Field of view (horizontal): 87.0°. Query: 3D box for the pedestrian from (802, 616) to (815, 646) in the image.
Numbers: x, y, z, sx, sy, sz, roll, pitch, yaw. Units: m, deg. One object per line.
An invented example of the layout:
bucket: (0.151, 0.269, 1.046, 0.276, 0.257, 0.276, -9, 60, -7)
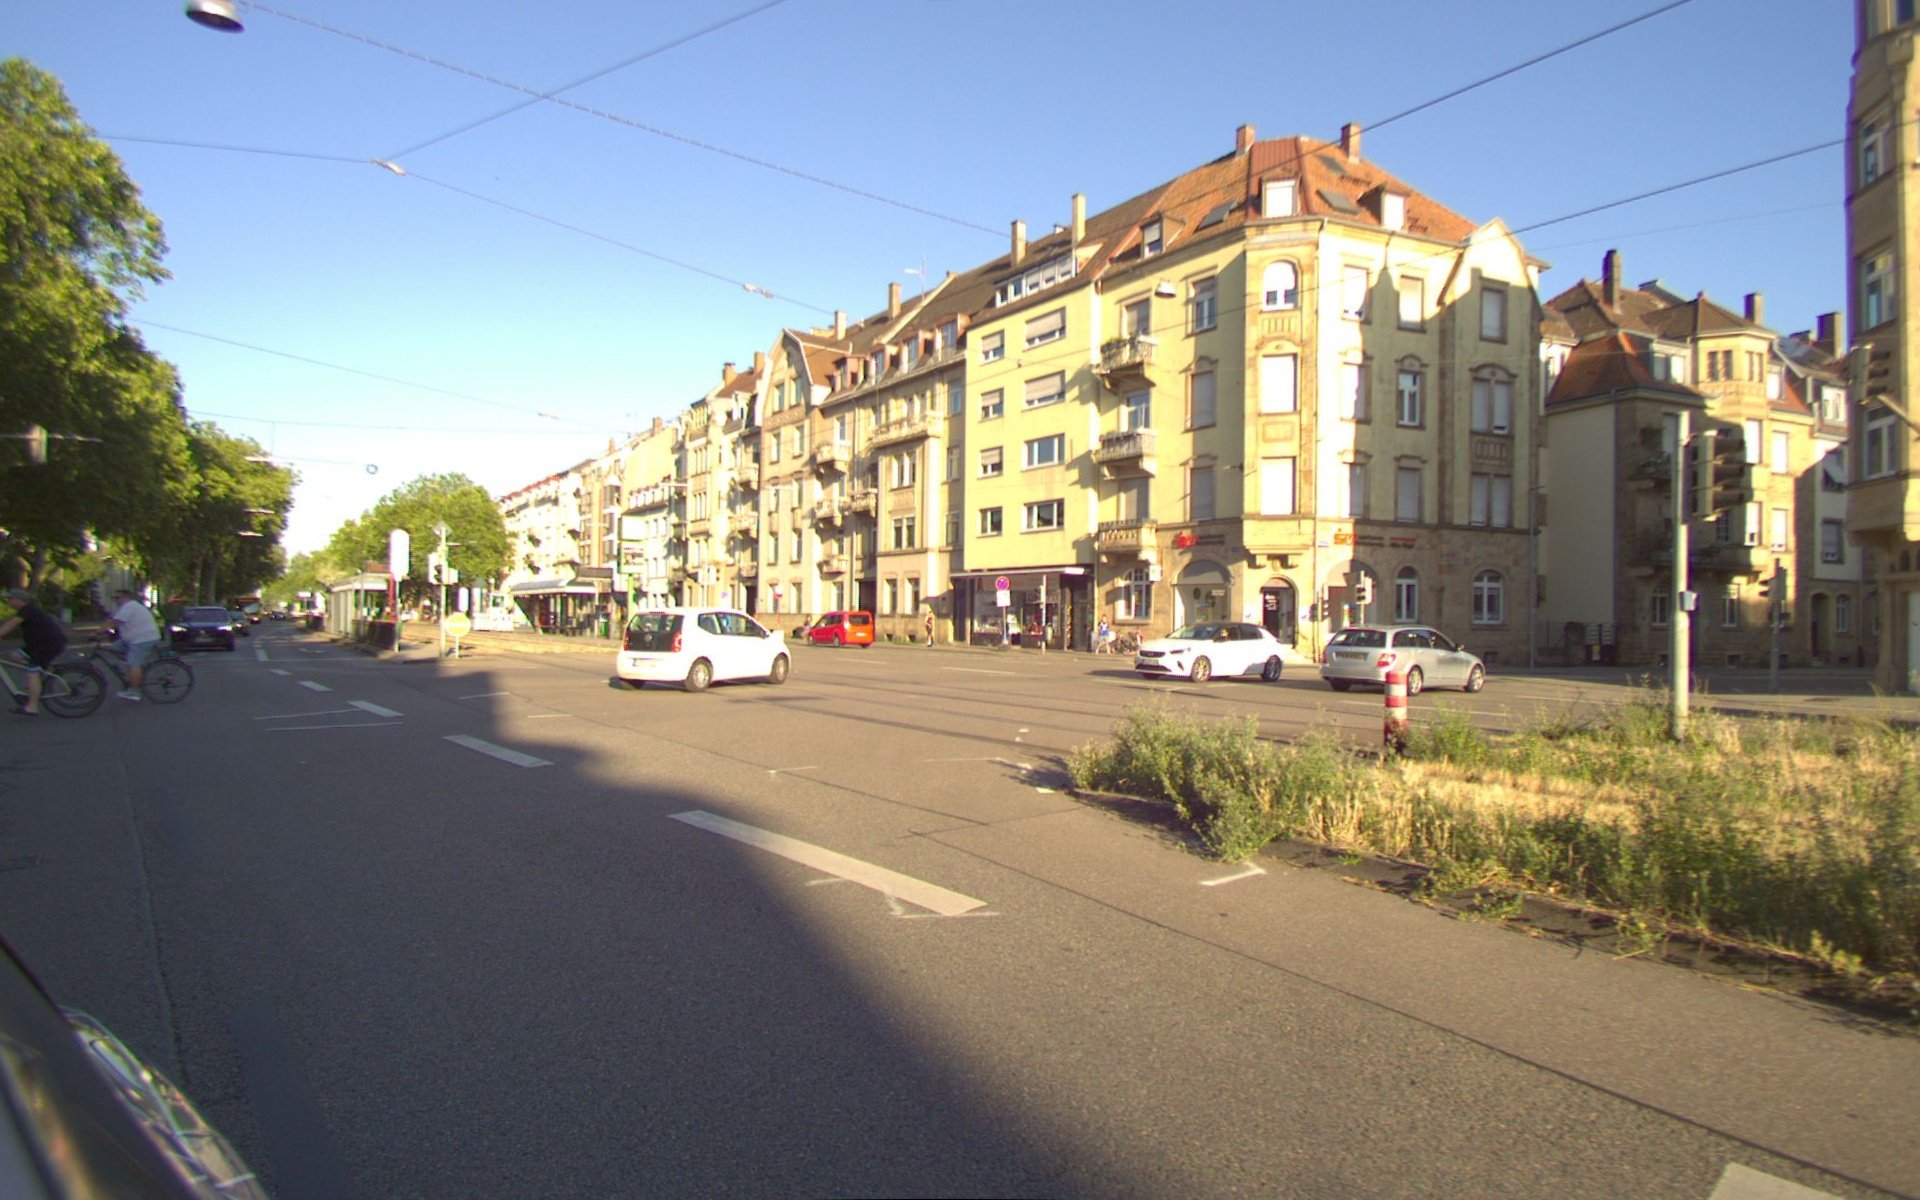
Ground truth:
pedestrian: (-9.469, 1.954, 63.130, 0.630, 1.851, 0.478, 2, -1, -34)

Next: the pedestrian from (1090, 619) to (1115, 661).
pedestrian: (5.785, 1.620, 40.999, 0.620, 1.653, 0.772, 1, -2, -38)

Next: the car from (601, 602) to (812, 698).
car: (-4.500, 0.812, 18.472, 1.729, 1.491, 3.781, 1, 1, 26)

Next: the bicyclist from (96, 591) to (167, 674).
bicyclist: (-12.891, 0.496, 15.775, 0.754, 1.245, 0.662, 2, -1, -33)

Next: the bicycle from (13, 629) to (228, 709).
bicycle: (-12.951, 1.038, 15.742, 2.509, 1.113, 0.654, 0, 0, -33)

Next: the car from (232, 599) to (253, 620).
car: (-79.808, 1.088, 112.531, 1.848, 2.310, 4.009, 2, -2, -36)

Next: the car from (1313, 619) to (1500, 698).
car: (9.505, 1.224, 21.420, 4.103, 1.488, 1.742, 3, -2, -35)

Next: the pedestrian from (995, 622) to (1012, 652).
pedestrian: (2.023, 1.700, 46.597, 0.545, 1.373, 0.557, 1, -1, -36)

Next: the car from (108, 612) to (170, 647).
car: (-40.112, 1.418, 49.542, 1.847, 1.608, 4.011, 1, -1, -32)

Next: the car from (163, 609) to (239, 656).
car: (-27.776, 1.169, 37.137, 1.847, 1.608, 4.011, 1, -1, -32)

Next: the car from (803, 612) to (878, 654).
car: (-5.970, 1.607, 50.207, 1.889, 1.914, 4.321, 2, -1, -35)

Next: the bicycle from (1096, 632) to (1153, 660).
bicycle: (6.665, 1.859, 41.147, 0.656, 1.064, 2.508, 2, -2, -39)

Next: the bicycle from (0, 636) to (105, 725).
bicycle: (-12.758, 1.078, 13.574, 1.892, 1.113, 0.654, -1, 0, -33)

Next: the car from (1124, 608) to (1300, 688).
car: (5.985, 1.105, 23.916, 3.933, 1.719, 1.841, 2, -1, -34)

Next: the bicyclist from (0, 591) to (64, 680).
bicyclist: (-12.662, 0.466, 13.642, 0.754, 1.166, 0.614, 2, -1, -33)

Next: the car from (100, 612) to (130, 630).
car: (-78.818, 1.967, 94.409, 1.848, 1.608, 4.009, 2, -1, -36)
